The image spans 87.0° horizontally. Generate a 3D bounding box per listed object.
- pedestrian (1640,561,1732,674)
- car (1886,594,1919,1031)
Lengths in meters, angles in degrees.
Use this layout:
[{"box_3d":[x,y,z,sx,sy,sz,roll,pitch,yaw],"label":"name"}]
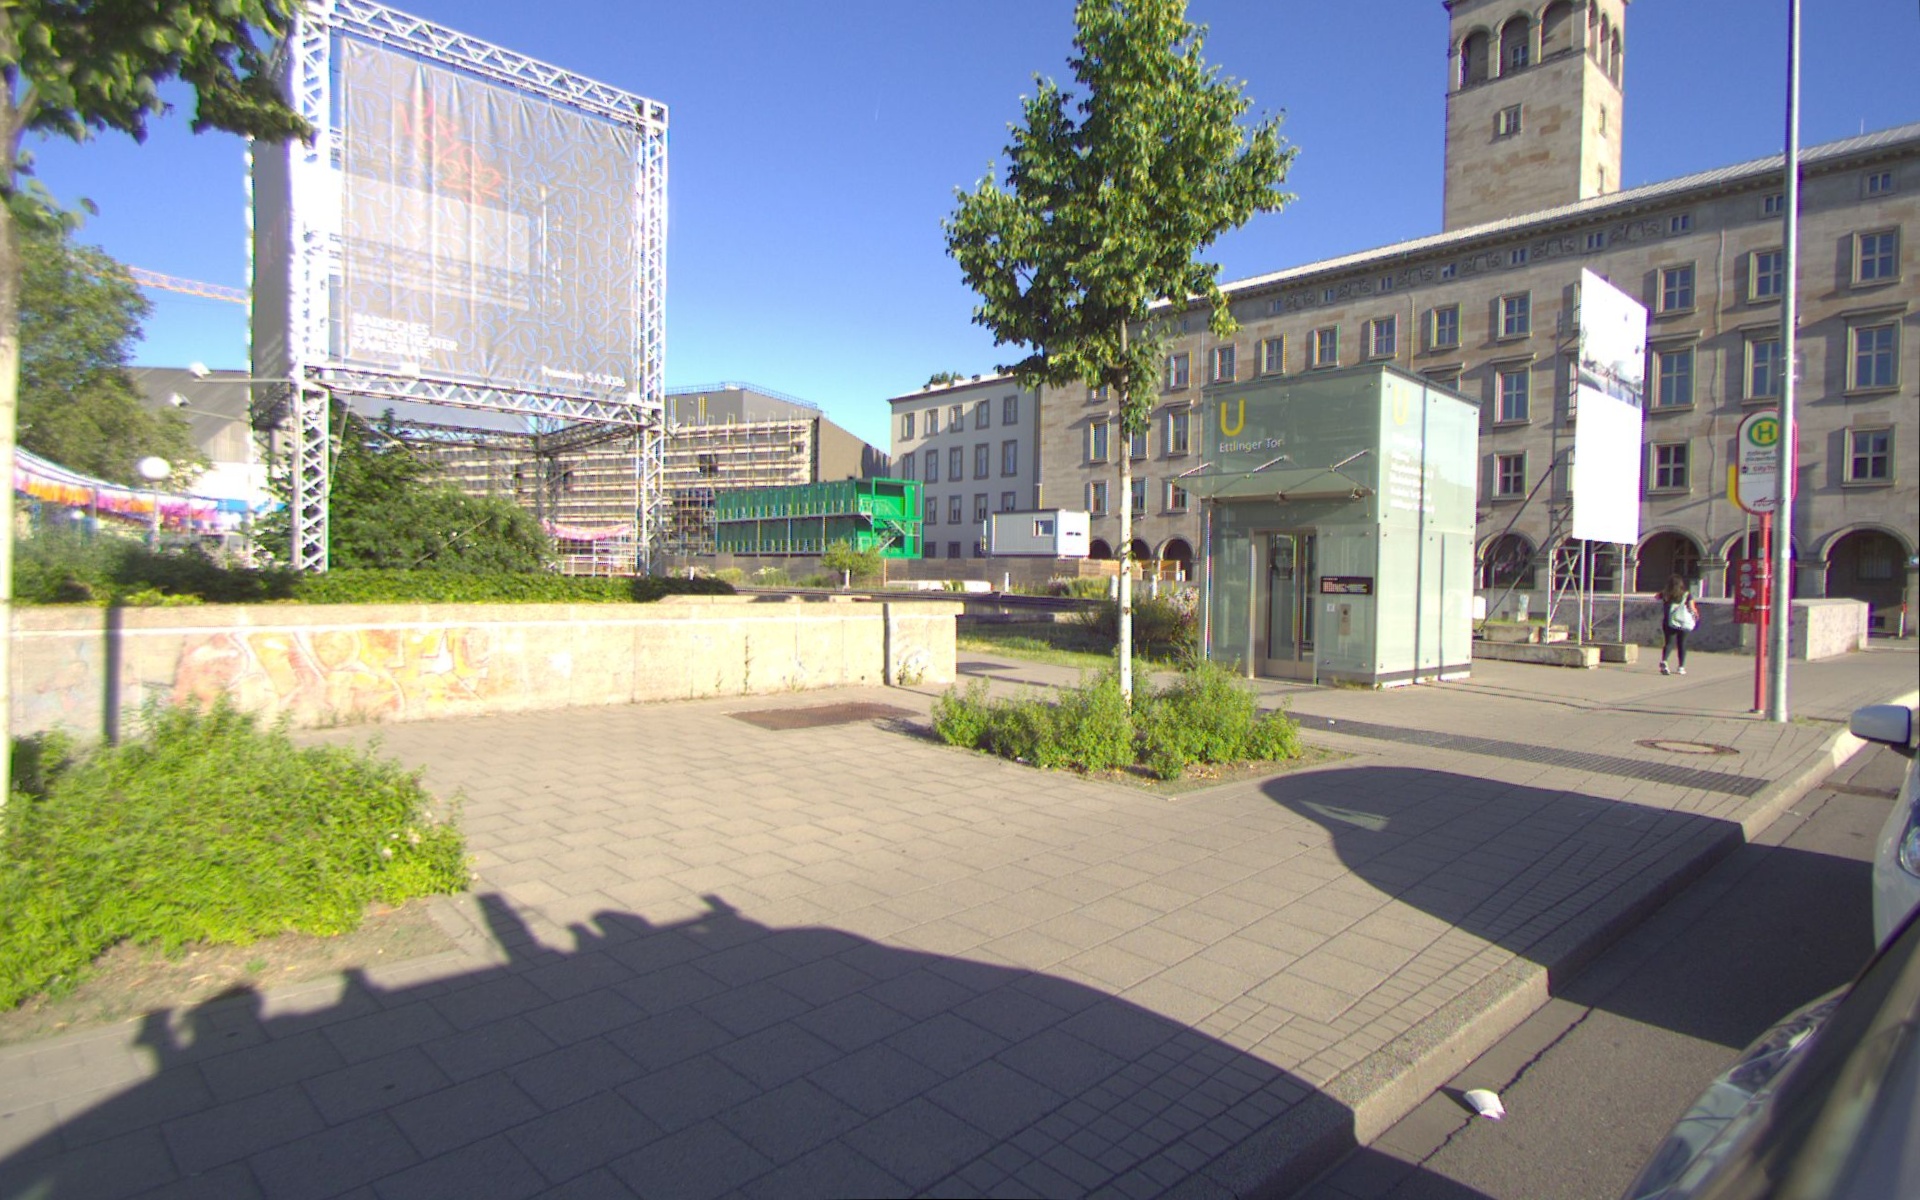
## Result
[{"box_3d":[12.437,0.275,17.339,1.053,1.808,0.942,0,4,-41],"label":"pedestrian"},{"box_3d":[5.176,0.713,4.002,3.819,1.467,1.678,0,0,-39],"label":"car"}]
